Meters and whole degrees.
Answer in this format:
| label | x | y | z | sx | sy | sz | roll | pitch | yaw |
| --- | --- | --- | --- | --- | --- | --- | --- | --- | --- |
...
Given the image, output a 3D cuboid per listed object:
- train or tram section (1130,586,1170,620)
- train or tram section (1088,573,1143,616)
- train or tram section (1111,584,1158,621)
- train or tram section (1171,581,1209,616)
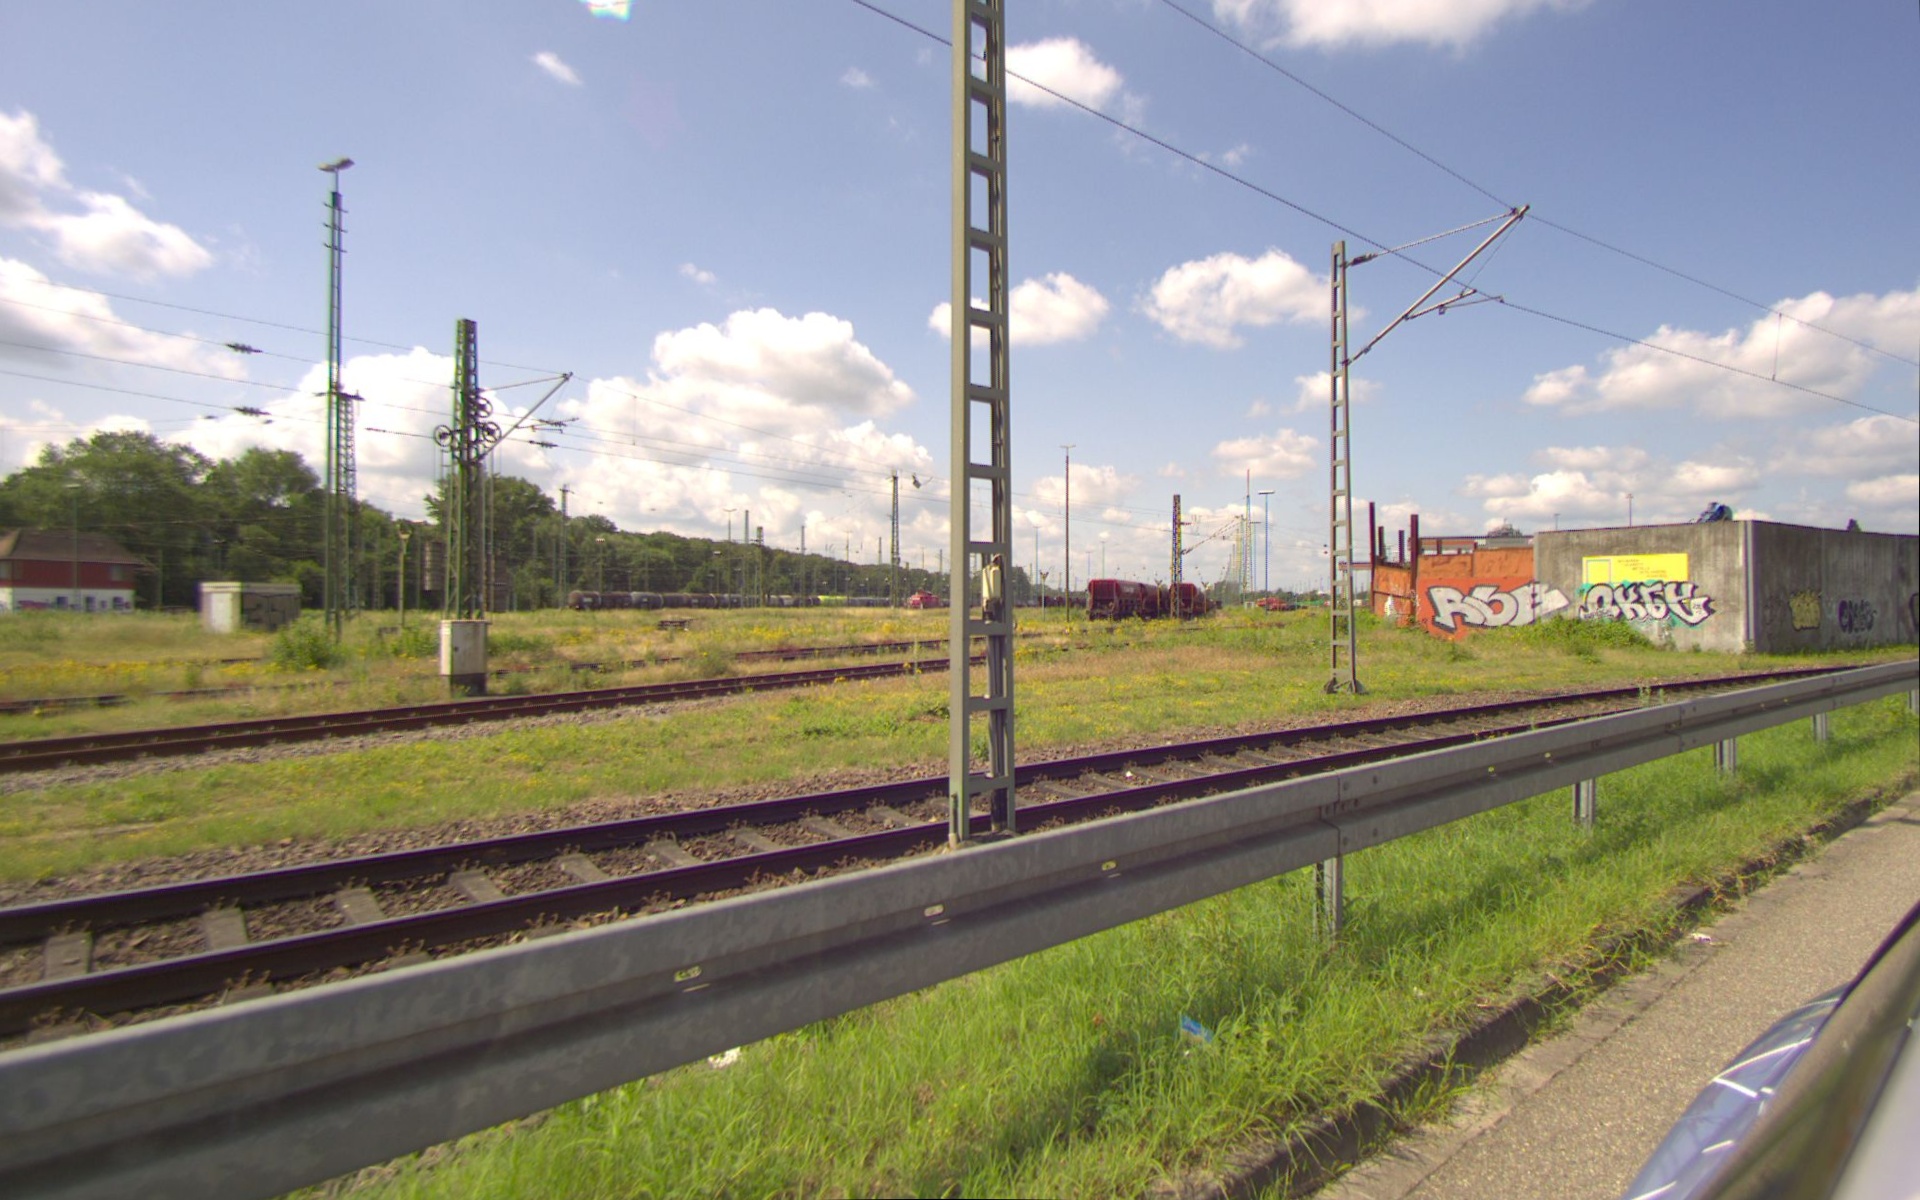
| label | x | y | z | sx | sy | sz | roll | pitch | yaw |
| --- | --- | --- | --- | --- | --- | --- | --- | --- | --- |
| train or tram section | 22.656 | 0.412 | 120.150 | 3.059 | 3.764 | 12.476 | 0 | -1 | 18 |
| train or tram section | 14.988 | -0.428 | 96.462 | 3.258 | 3.764 | 12.476 | 0 | -1 | 18 |
| train or tram section | 18.826 | 0.297 | 108.294 | 3.187 | 3.764 | 12.476 | 0 | -1 | 18 |
| train or tram section | 26.636 | -0.105 | 116.840 | 3.163 | 3.764 | 12.476 | 0 | -1 | 18 |
